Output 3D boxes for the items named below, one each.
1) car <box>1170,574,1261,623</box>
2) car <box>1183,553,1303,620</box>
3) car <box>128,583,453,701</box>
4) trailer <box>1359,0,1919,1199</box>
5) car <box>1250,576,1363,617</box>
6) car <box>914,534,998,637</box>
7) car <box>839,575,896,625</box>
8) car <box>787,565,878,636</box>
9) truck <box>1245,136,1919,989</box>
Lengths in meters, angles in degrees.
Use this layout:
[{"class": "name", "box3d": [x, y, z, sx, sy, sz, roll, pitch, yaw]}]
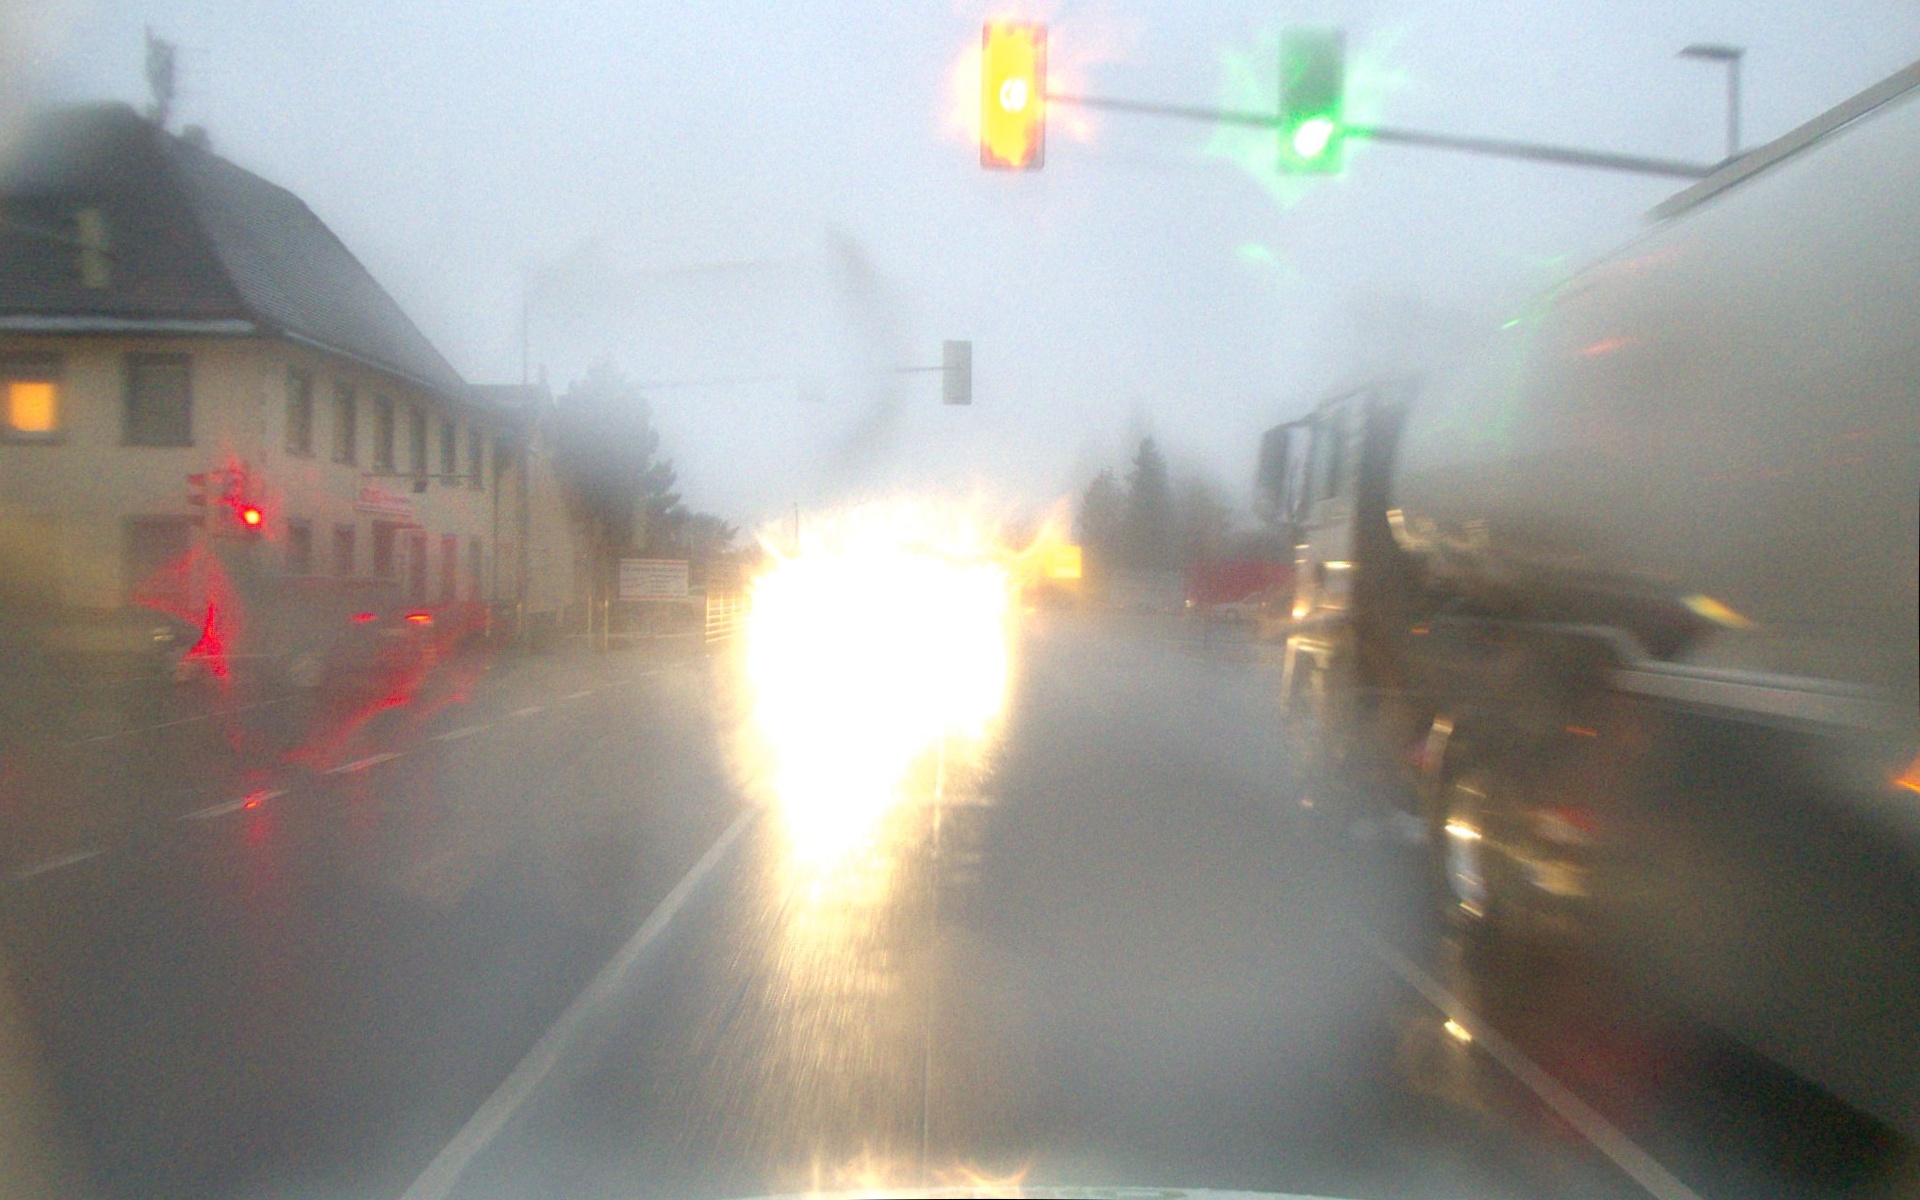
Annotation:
[{"class": "car", "box3d": [11.348, -0.089, 73.444, 3.902, 2.049, 2.002, -2, 1, 9]}, {"class": "car", "box3d": [13.113, -0.649, 76.677, 5.153, 2.920, 1.774, -2, 0, -8]}, {"class": "car", "box3d": [-10.007, 0.579, 24.675, 4.598, 1.600, 2.051, -1, 1, 29]}, {"class": "trailer", "box3d": [3.487, -0.117, 3.673, 2.437, 3.297, 10.867, 1, 1, -1]}, {"class": "car", "box3d": [14.557, -0.146, 69.574, 4.431, 1.556, 1.778, -2, 1, 4]}, {"class": "car", "box3d": [-0.192, -0.457, 51.485, 2.352, 2.943, 6.249, 2, 0, -1]}, {"class": "car", "box3d": [-3.334, 0.003, 60.326, 1.685, 1.753, 3.929, -1, 0, 2]}, {"class": "car", "box3d": [-3.388, -0.010, 44.602, 1.952, 1.777, 4.002, -1, 1, 2]}, {"class": "truck", "box3d": [3.434, -0.170, 9.552, 2.411, 3.286, 6.272, 1, 1, 0]}]
